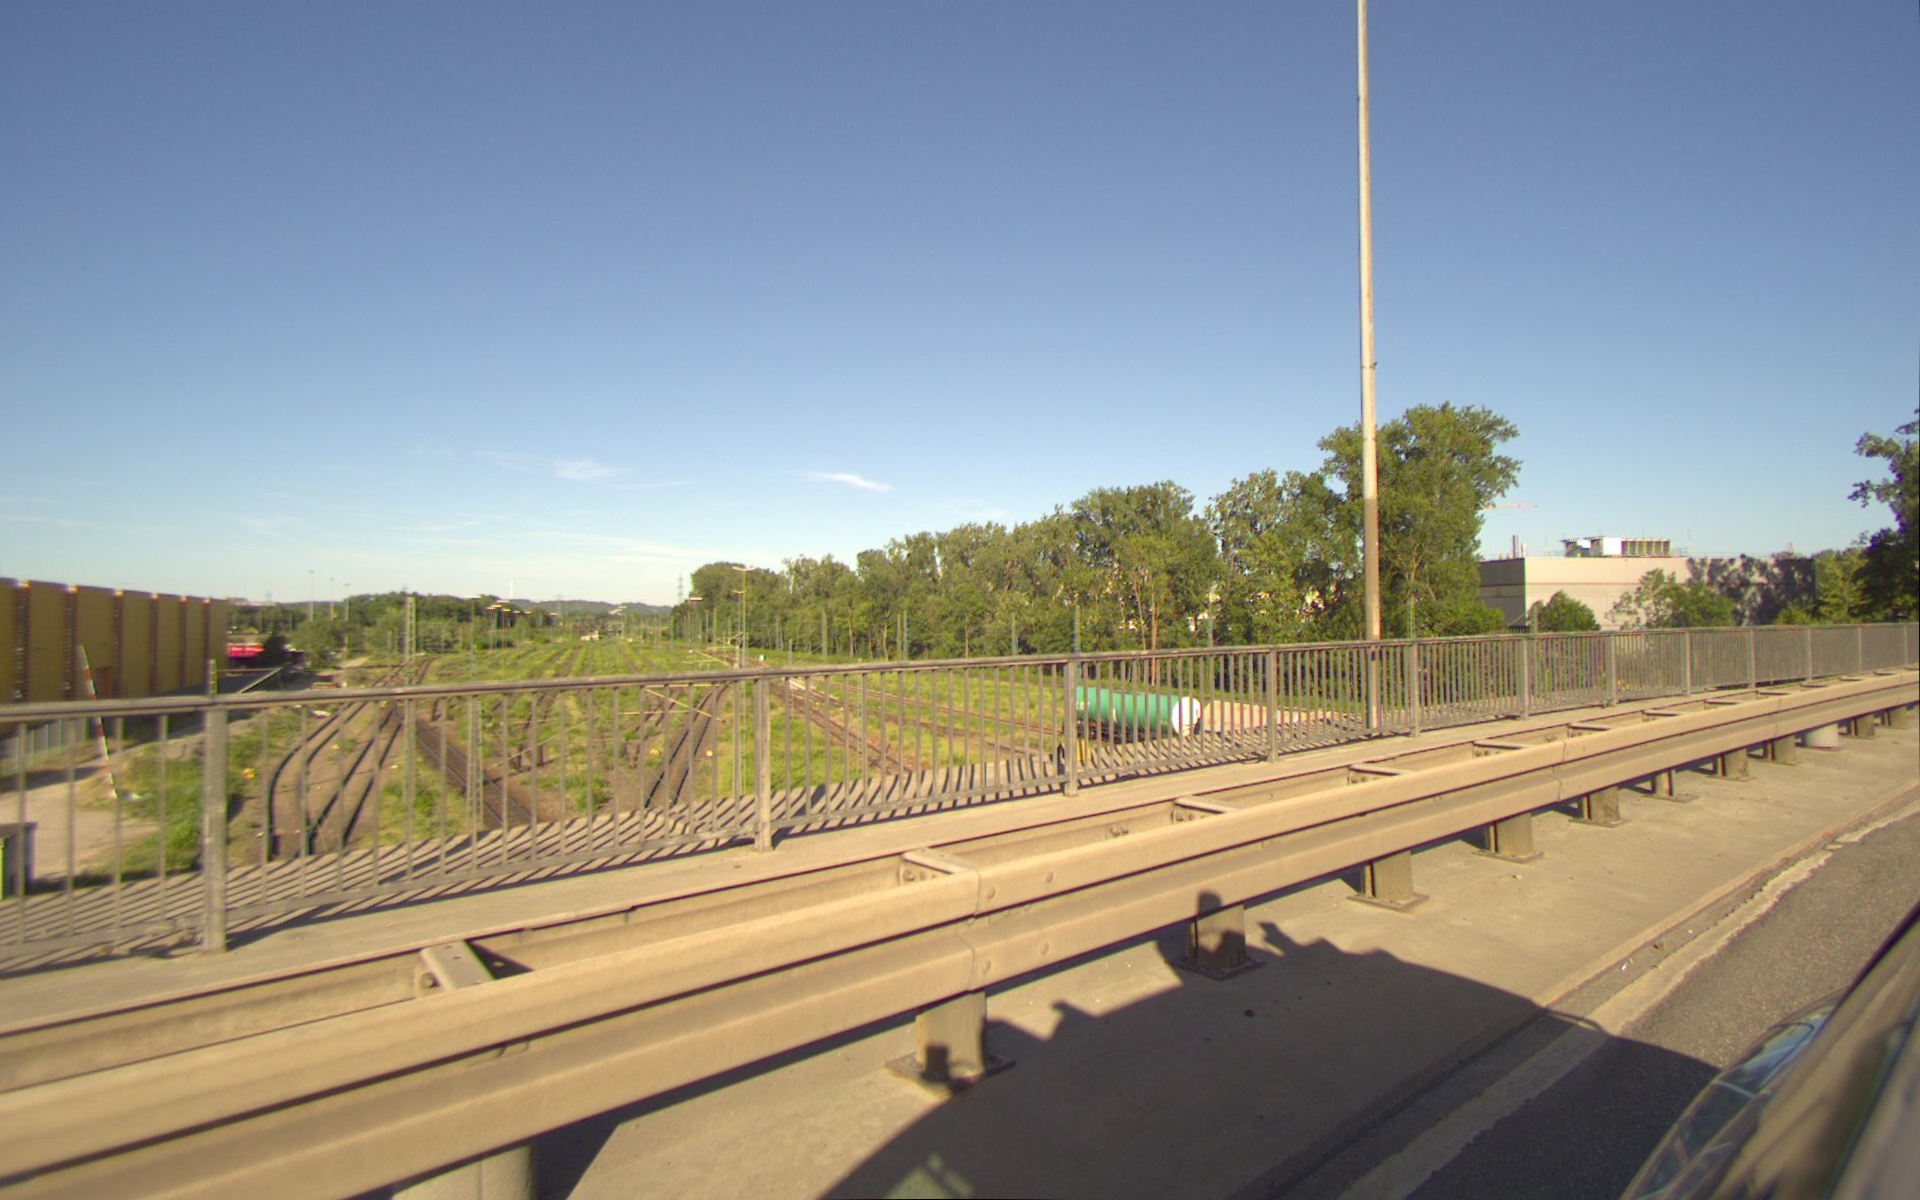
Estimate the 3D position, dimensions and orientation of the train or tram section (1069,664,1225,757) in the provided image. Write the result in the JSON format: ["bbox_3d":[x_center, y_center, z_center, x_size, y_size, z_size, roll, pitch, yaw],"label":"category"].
[{"bbox_3d":[13.967,8.185,77.984,3.268,5.248,15.204,0,1,-27],"label":"train or tram section"}]

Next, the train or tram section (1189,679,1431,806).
[{"bbox_3d":[21.173,8.456,63.602,3.268,5.327,16.909,0,1,-27],"label":"train or tram section"}]
